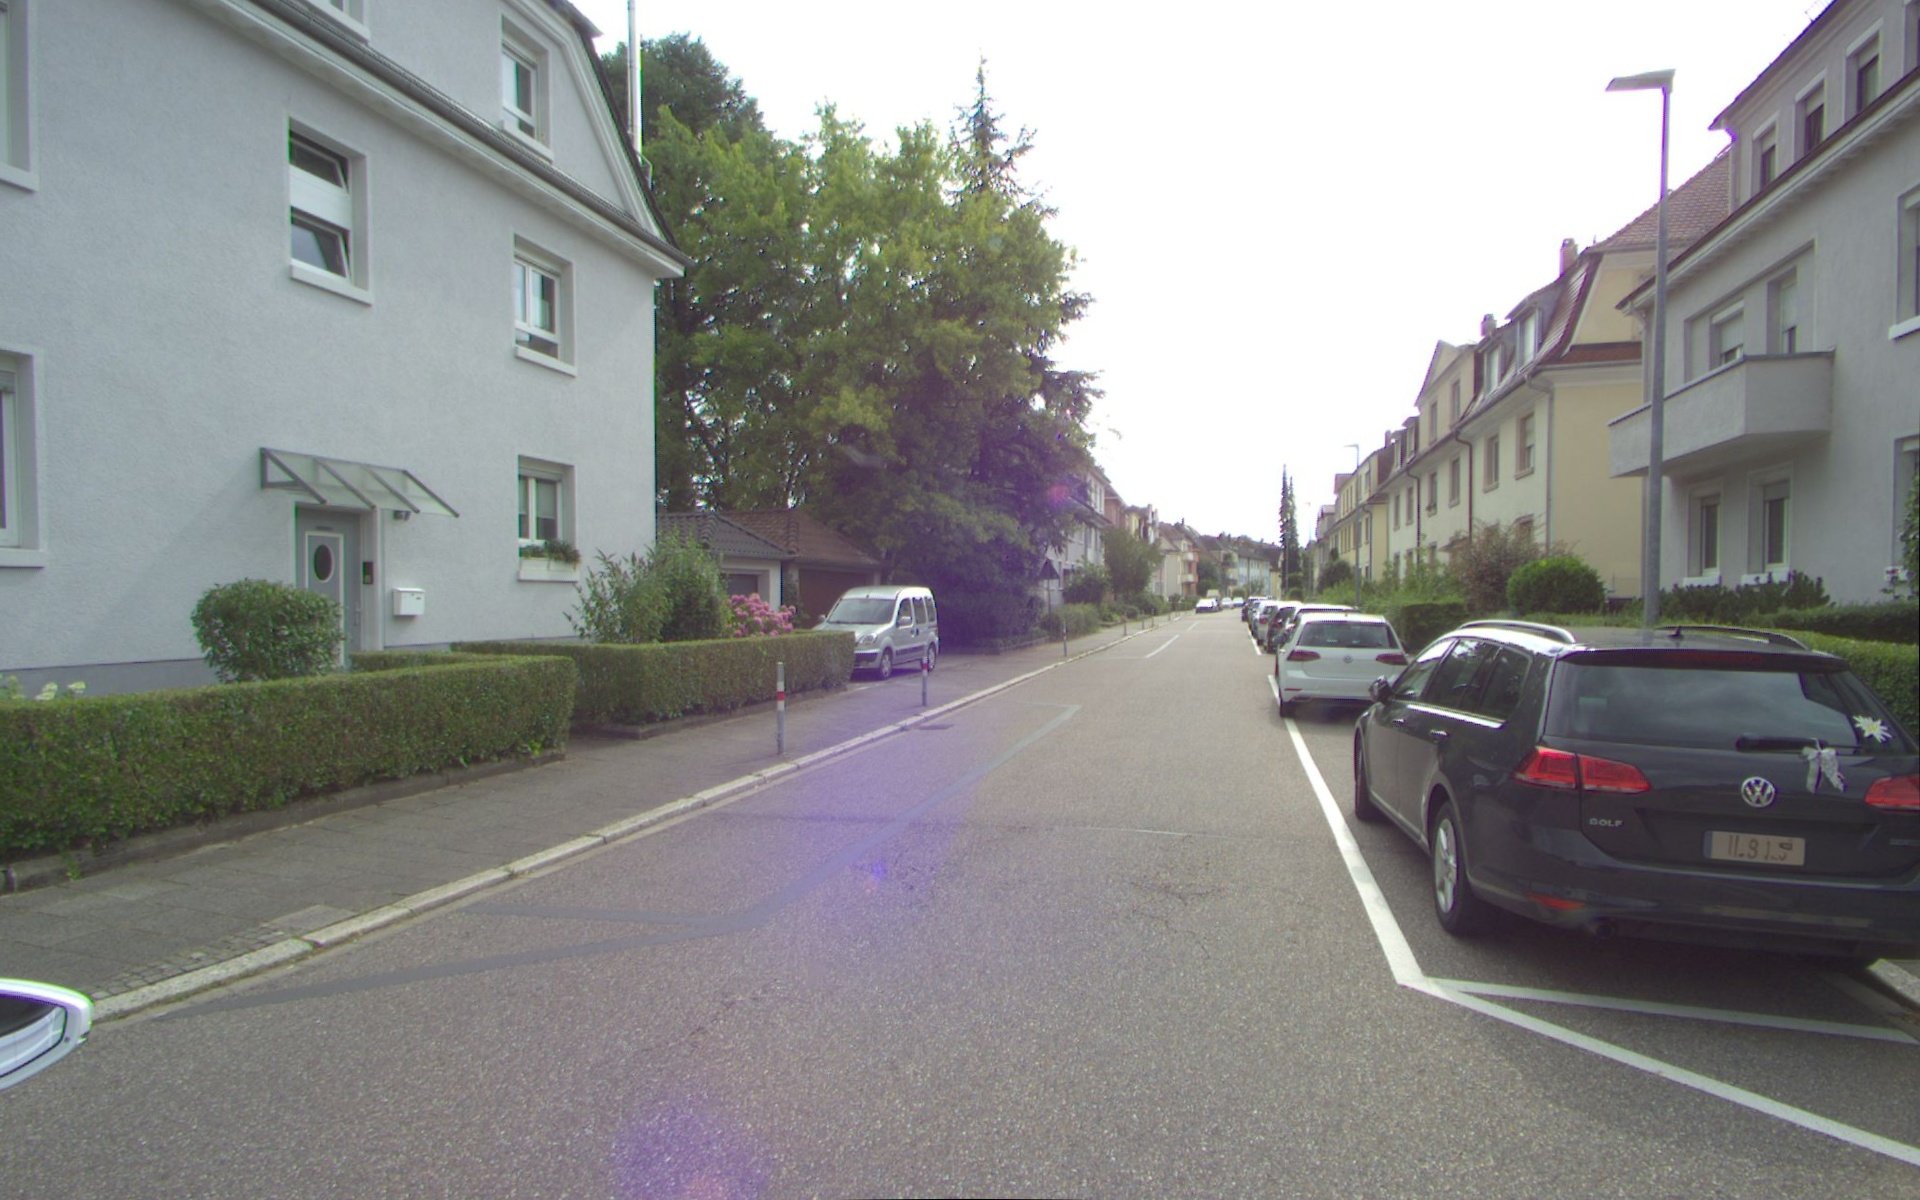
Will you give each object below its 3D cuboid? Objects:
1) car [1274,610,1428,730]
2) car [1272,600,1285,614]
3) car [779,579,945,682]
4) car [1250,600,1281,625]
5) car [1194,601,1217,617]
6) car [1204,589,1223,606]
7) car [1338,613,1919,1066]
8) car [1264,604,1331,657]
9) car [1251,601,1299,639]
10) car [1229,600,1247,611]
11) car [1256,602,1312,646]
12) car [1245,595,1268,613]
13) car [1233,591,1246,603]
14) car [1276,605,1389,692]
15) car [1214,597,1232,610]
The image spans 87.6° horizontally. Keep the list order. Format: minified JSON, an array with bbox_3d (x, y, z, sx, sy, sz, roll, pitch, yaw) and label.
[{"bbox_3d":[5.724,0.921,15.112,1.826,1.491,4.168,0,0,17],"label":"car"},{"bbox_3d":[49.169,1.100,154.662,1.964,2.040,3.849,-1,0,17],"label":"car"},{"bbox_3d":[-1.859,0.546,20.383,1.964,1.862,3.993,0,0,17],"label":"car"},{"bbox_3d":[19.555,0.765,64.197,1.826,1.491,4.168,0,0,17],"label":"car"},{"bbox_3d":[26.703,0.982,108.848,1.965,1.662,3.992,0,0,19],"label":"car"},{"bbox_3d":[30.600,-0.259,120.664,1.964,2.040,3.993,0,0,18],"label":"car"},{"bbox_3d":[3.393,0.851,5.549,1.825,1.491,4.171,0,0,12],"label":"car"},{"bbox_3d":[10.377,0.874,31.031,1.826,1.491,4.168,0,0,17],"label":"car"},{"bbox_3d":[13.210,0.793,42.057,1.826,1.491,4.168,0,0,17],"label":"car"},{"bbox_3d":[41.382,0.772,149.196,1.967,1.556,3.987,-1,0,24],"label":"car"},{"bbox_3d":[11.698,0.824,36.314,1.826,1.491,4.168,0,0,17],"label":"car"},{"bbox_3d":[25.998,0.343,87.846,1.826,1.599,4.169,0,0,16],"label":"car"},{"bbox_3d":[49.404,-0.573,177.186,1.965,2.152,3.992,0,0,19],"label":"car"},{"bbox_3d":[7.249,0.859,19.837,1.826,1.491,4.168,0,0,17],"label":"car"},{"bbox_3d":[35.832,0.483,136.377,1.965,1.662,3.992,0,0,19],"label":"car"}]
